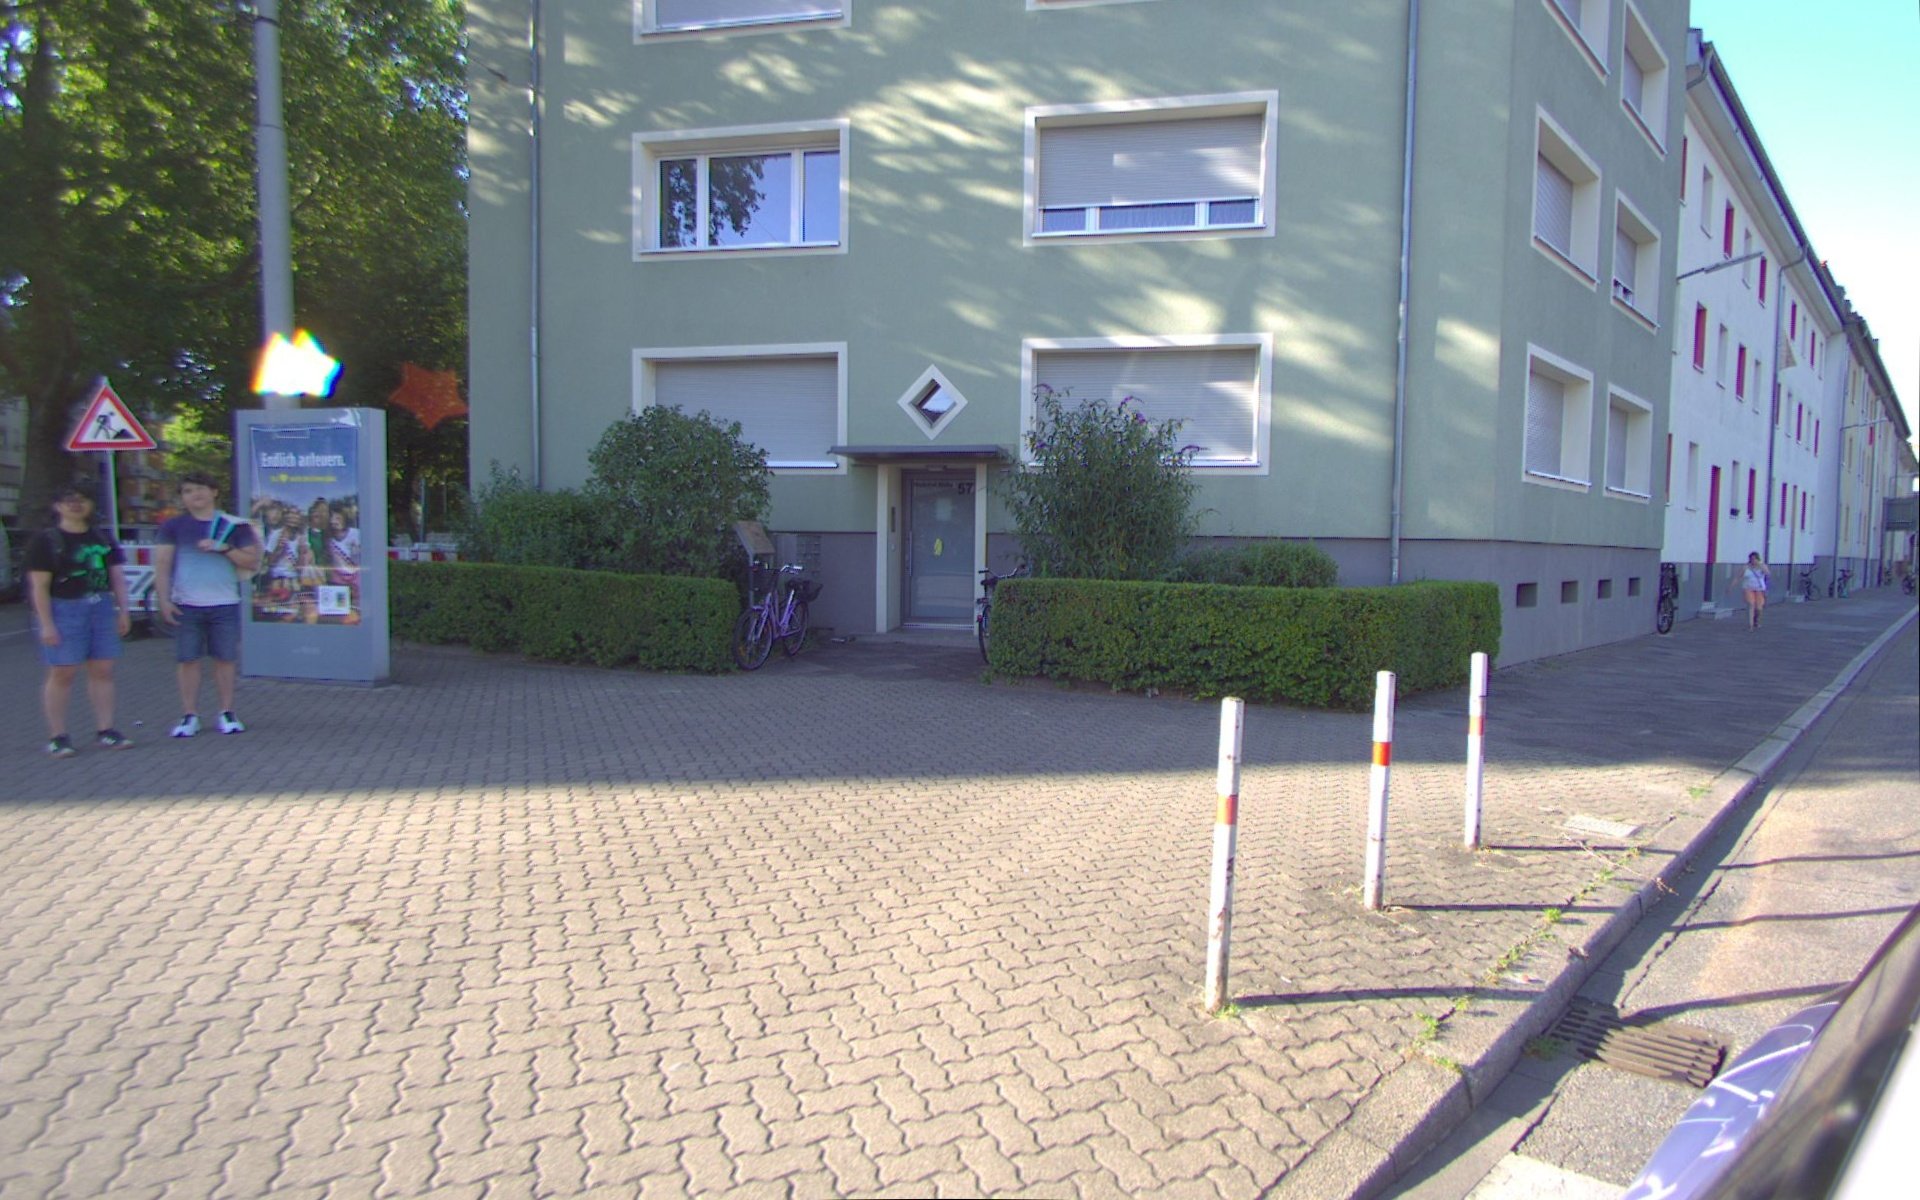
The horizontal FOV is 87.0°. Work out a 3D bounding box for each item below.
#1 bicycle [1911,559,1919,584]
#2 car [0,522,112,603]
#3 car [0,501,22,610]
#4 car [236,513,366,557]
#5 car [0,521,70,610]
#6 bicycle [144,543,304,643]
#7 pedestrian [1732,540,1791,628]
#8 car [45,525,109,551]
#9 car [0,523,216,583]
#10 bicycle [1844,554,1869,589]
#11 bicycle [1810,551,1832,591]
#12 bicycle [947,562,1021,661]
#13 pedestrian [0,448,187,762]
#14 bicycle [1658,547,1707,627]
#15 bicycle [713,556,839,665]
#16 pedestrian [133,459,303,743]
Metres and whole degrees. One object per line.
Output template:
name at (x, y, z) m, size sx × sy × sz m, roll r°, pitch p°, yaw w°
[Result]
bicycle at (44.022, -1.293, 46.154) m, size 0.647 × 1.110 × 2.175 m, roll 2°, pitch 3°, yaw 36°
car at (-20.716, -0.789, 20.791) m, size 4.629 × 1.621 × 1.924 m, roll -1°, pitch 3°, yaw -22°
car at (-18.620, -0.653, 16.011) m, size 5.130 × 1.848 × 1.934 m, roll -2°, pitch 3°, yaw -24°
car at (-37.067, -3.649, 57.129) m, size 5.841 × 2.394 × 2.066 m, roll -1°, pitch 3°, yaw -22°
car at (-19.480, -0.653, 18.545) m, size 4.329 × 1.621 × 1.947 m, roll -1°, pitch 3°, yaw -22°
bicycle at (-8.399, -0.101, 11.540) m, size 1.910 × 1.069 × 0.518 m, roll 2°, pitch 3°, yaw 21°
pedestrian at (16.248, -0.352, 20.517) m, size 0.935 × 1.727 × 0.786 m, roll -2°, pitch 4°, yaw -45°
car at (-57.275, -4.018, 65.732) m, size 1.860 × 1.583 × 4.403 m, roll -1°, pitch 4°, yaw -24°
car at (-24.541, -1.372, 29.153) m, size 4.629 × 1.621 × 1.924 m, roll -1°, pitch 3°, yaw -22°
bicycle at (35.482, -1.132, 40.052) m, size 2.174 × 1.341 × 0.517 m, roll -2°, pitch 4°, yaw -44°
bicycle at (31.573, -1.078, 37.105) m, size 0.516 × 1.429 × 1.846 m, roll 3°, pitch 3°, yaw 41°
bicycle at (0.304, 0.086, 11.682) m, size 0.635 × 1.014 × 1.845 m, roll 1°, pitch 3°, yaw 8°
pedestrian at (-5.344, 0.006, 6.187) m, size 0.787 × 1.772 × 0.687 m, roll 2°, pitch 3°, yaw 27°
bicycle at (13.544, -0.269, 18.958) m, size 0.516 × 1.429 × 1.846 m, roll 3°, pitch 3°, yaw 41°
bicycle at (-1.965, 0.064, 11.082) m, size 0.514 × 1.069 × 1.924 m, roll 1°, pitch 3°, yaw 18°
pedestrian at (-4.988, -0.015, 6.817) m, size 0.790 × 1.772 × 0.685 m, roll 2°, pitch 3°, yaw 35°
